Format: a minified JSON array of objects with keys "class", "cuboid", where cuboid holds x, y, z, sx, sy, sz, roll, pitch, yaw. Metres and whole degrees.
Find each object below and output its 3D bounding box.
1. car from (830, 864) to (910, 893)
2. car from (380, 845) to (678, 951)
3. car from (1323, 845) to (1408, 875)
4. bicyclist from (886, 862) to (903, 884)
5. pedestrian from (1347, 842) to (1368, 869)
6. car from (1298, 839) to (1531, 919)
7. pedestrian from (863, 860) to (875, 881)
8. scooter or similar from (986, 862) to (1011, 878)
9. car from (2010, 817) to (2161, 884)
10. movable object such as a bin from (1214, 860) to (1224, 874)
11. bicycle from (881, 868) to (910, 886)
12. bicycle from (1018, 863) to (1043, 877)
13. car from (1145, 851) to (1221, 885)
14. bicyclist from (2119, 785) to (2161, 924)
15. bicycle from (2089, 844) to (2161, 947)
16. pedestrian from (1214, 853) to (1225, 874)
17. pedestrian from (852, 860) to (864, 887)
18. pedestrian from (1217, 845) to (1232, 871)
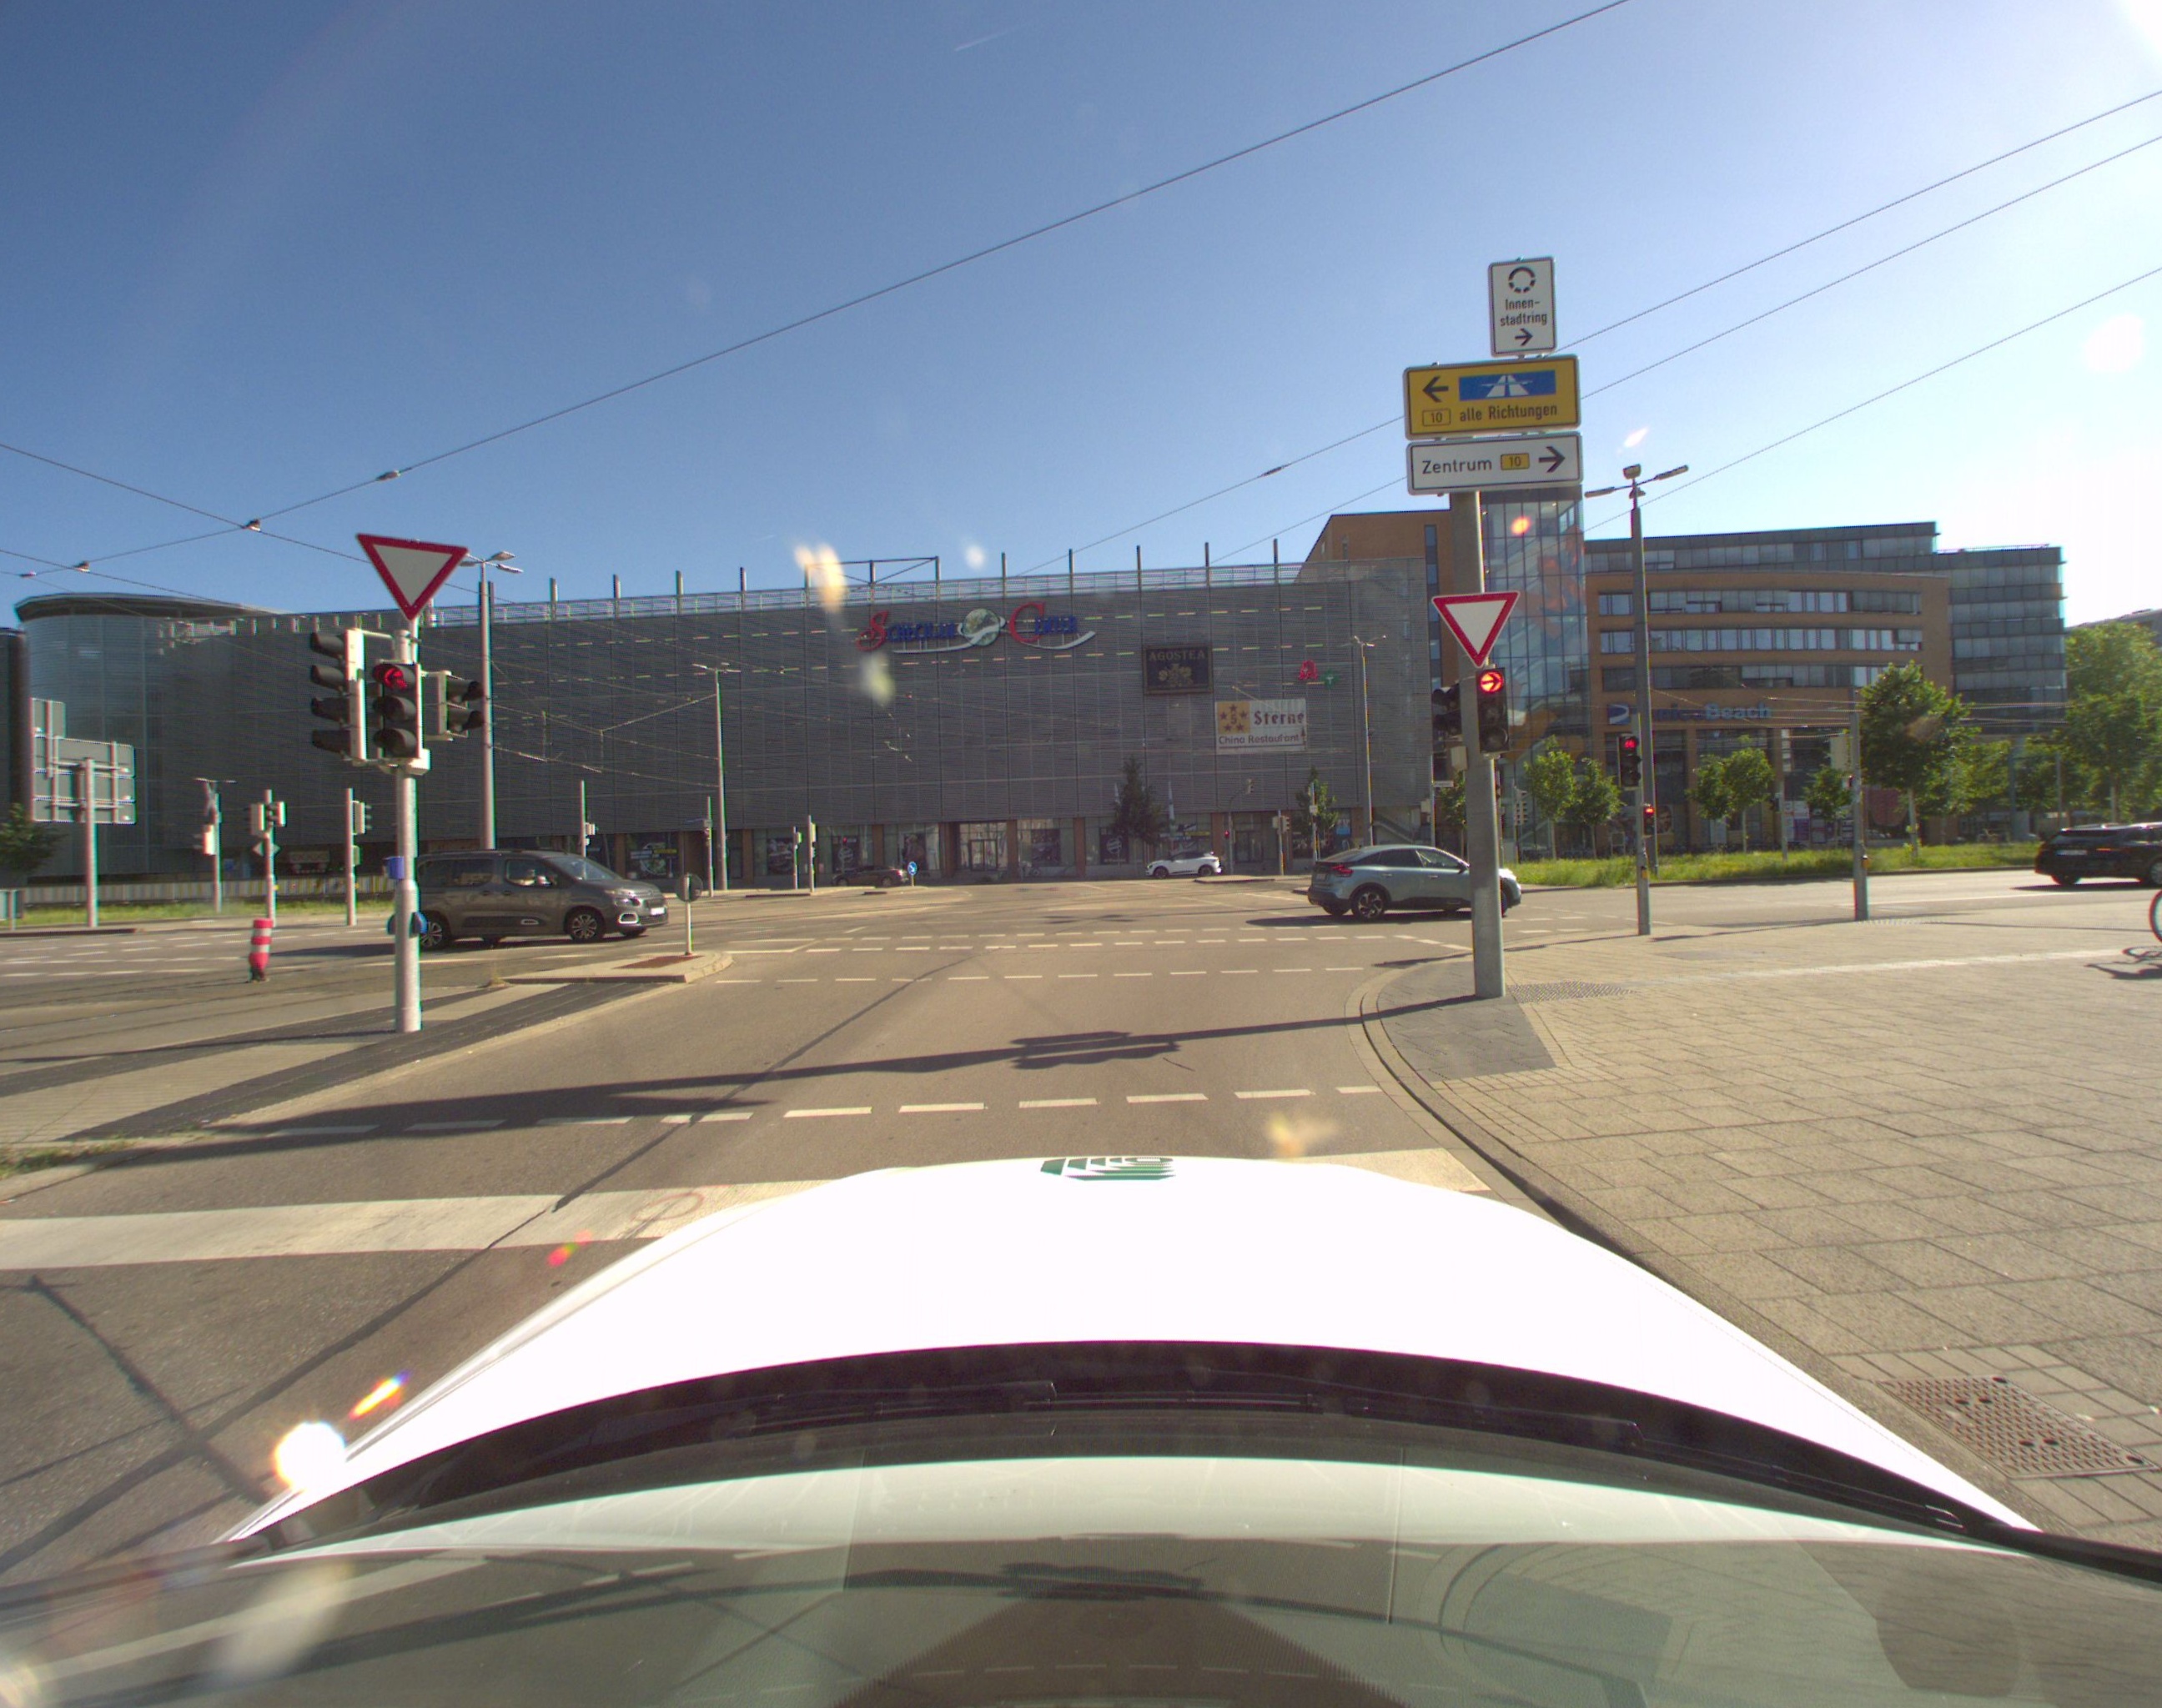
[{"class":"car","cuboid":[-12.754,1.450,49.365,4.274,1.584,1.841,2,-1,1]},{"class":"car","cuboid":[-10.423,0.798,15.634,4.447,1.791,1.708,-2,0,-3]},{"class":"car","cuboid":[15.880,0.343,45.616,4.132,1.470,1.841,2,-1,0]},{"class":"bicyclist","cuboid":[-12.632,1.267,55.233,0.667,1.427,0.855,-1,2,45]},{"class":"pedestrian","cuboid":[19.802,0.107,58.272,1.010,1.828,1.034,-3,0,-4]},{"class":"car","cuboid":[6.922,0.491,17.125,4.259,1.514,1.705,-1,0,-7]},{"class":"pedestrian","cuboid":[-16.167,1.242,62.241,0.654,1.601,0.597,-1,-1,20]},{"class":"scooter or similar","cuboid":[-6.187,1.196,61.227,1.790,1.066,0.611,-2,1,-6]},{"class":"car","cuboid":[25.142,-0.111,19.297,4.664,1.462,1.829,-1,0,-7]},{"class":"movable object such as a bin","cuboid":[9.268,0.875,54.735,0.608,0.904,0.972,-1,-1,12]},{"class":"bicycle","cuboid":[-12.588,1.578,55.306,0.562,1.086,1.874,-1,2,45]},{"class":"bicycle","cuboid":[-3.785,1.167,60.786,1.815,0.989,0.556,-2,1,-8]},{"class":"car","cuboid":[6.068,0.826,48.851,4.311,1.863,1.841,-1,-1,1]},{"class":"bicyclist","cuboid":[11.472,-0.003,8.278,0.661,1.436,0.944,-2,-2,18]},{"class":"bicycle","cuboid":[11.498,0.418,8.260,0.661,1.072,1.828,-2,-2,18]},{"class":"pedestrian","cuboid":[9.402,0.625,55.198,0.650,1.414,0.853,-1,-1,12]},{"class":"pedestrian","cuboid":[-15.206,1.303,55.457,0.695,1.797,0.727,-3,0,-14]},{"class":"pedestrian","cuboid":[10.480,0.324,59.441,0.945,1.829,0.847,-3,-4,7]}]
